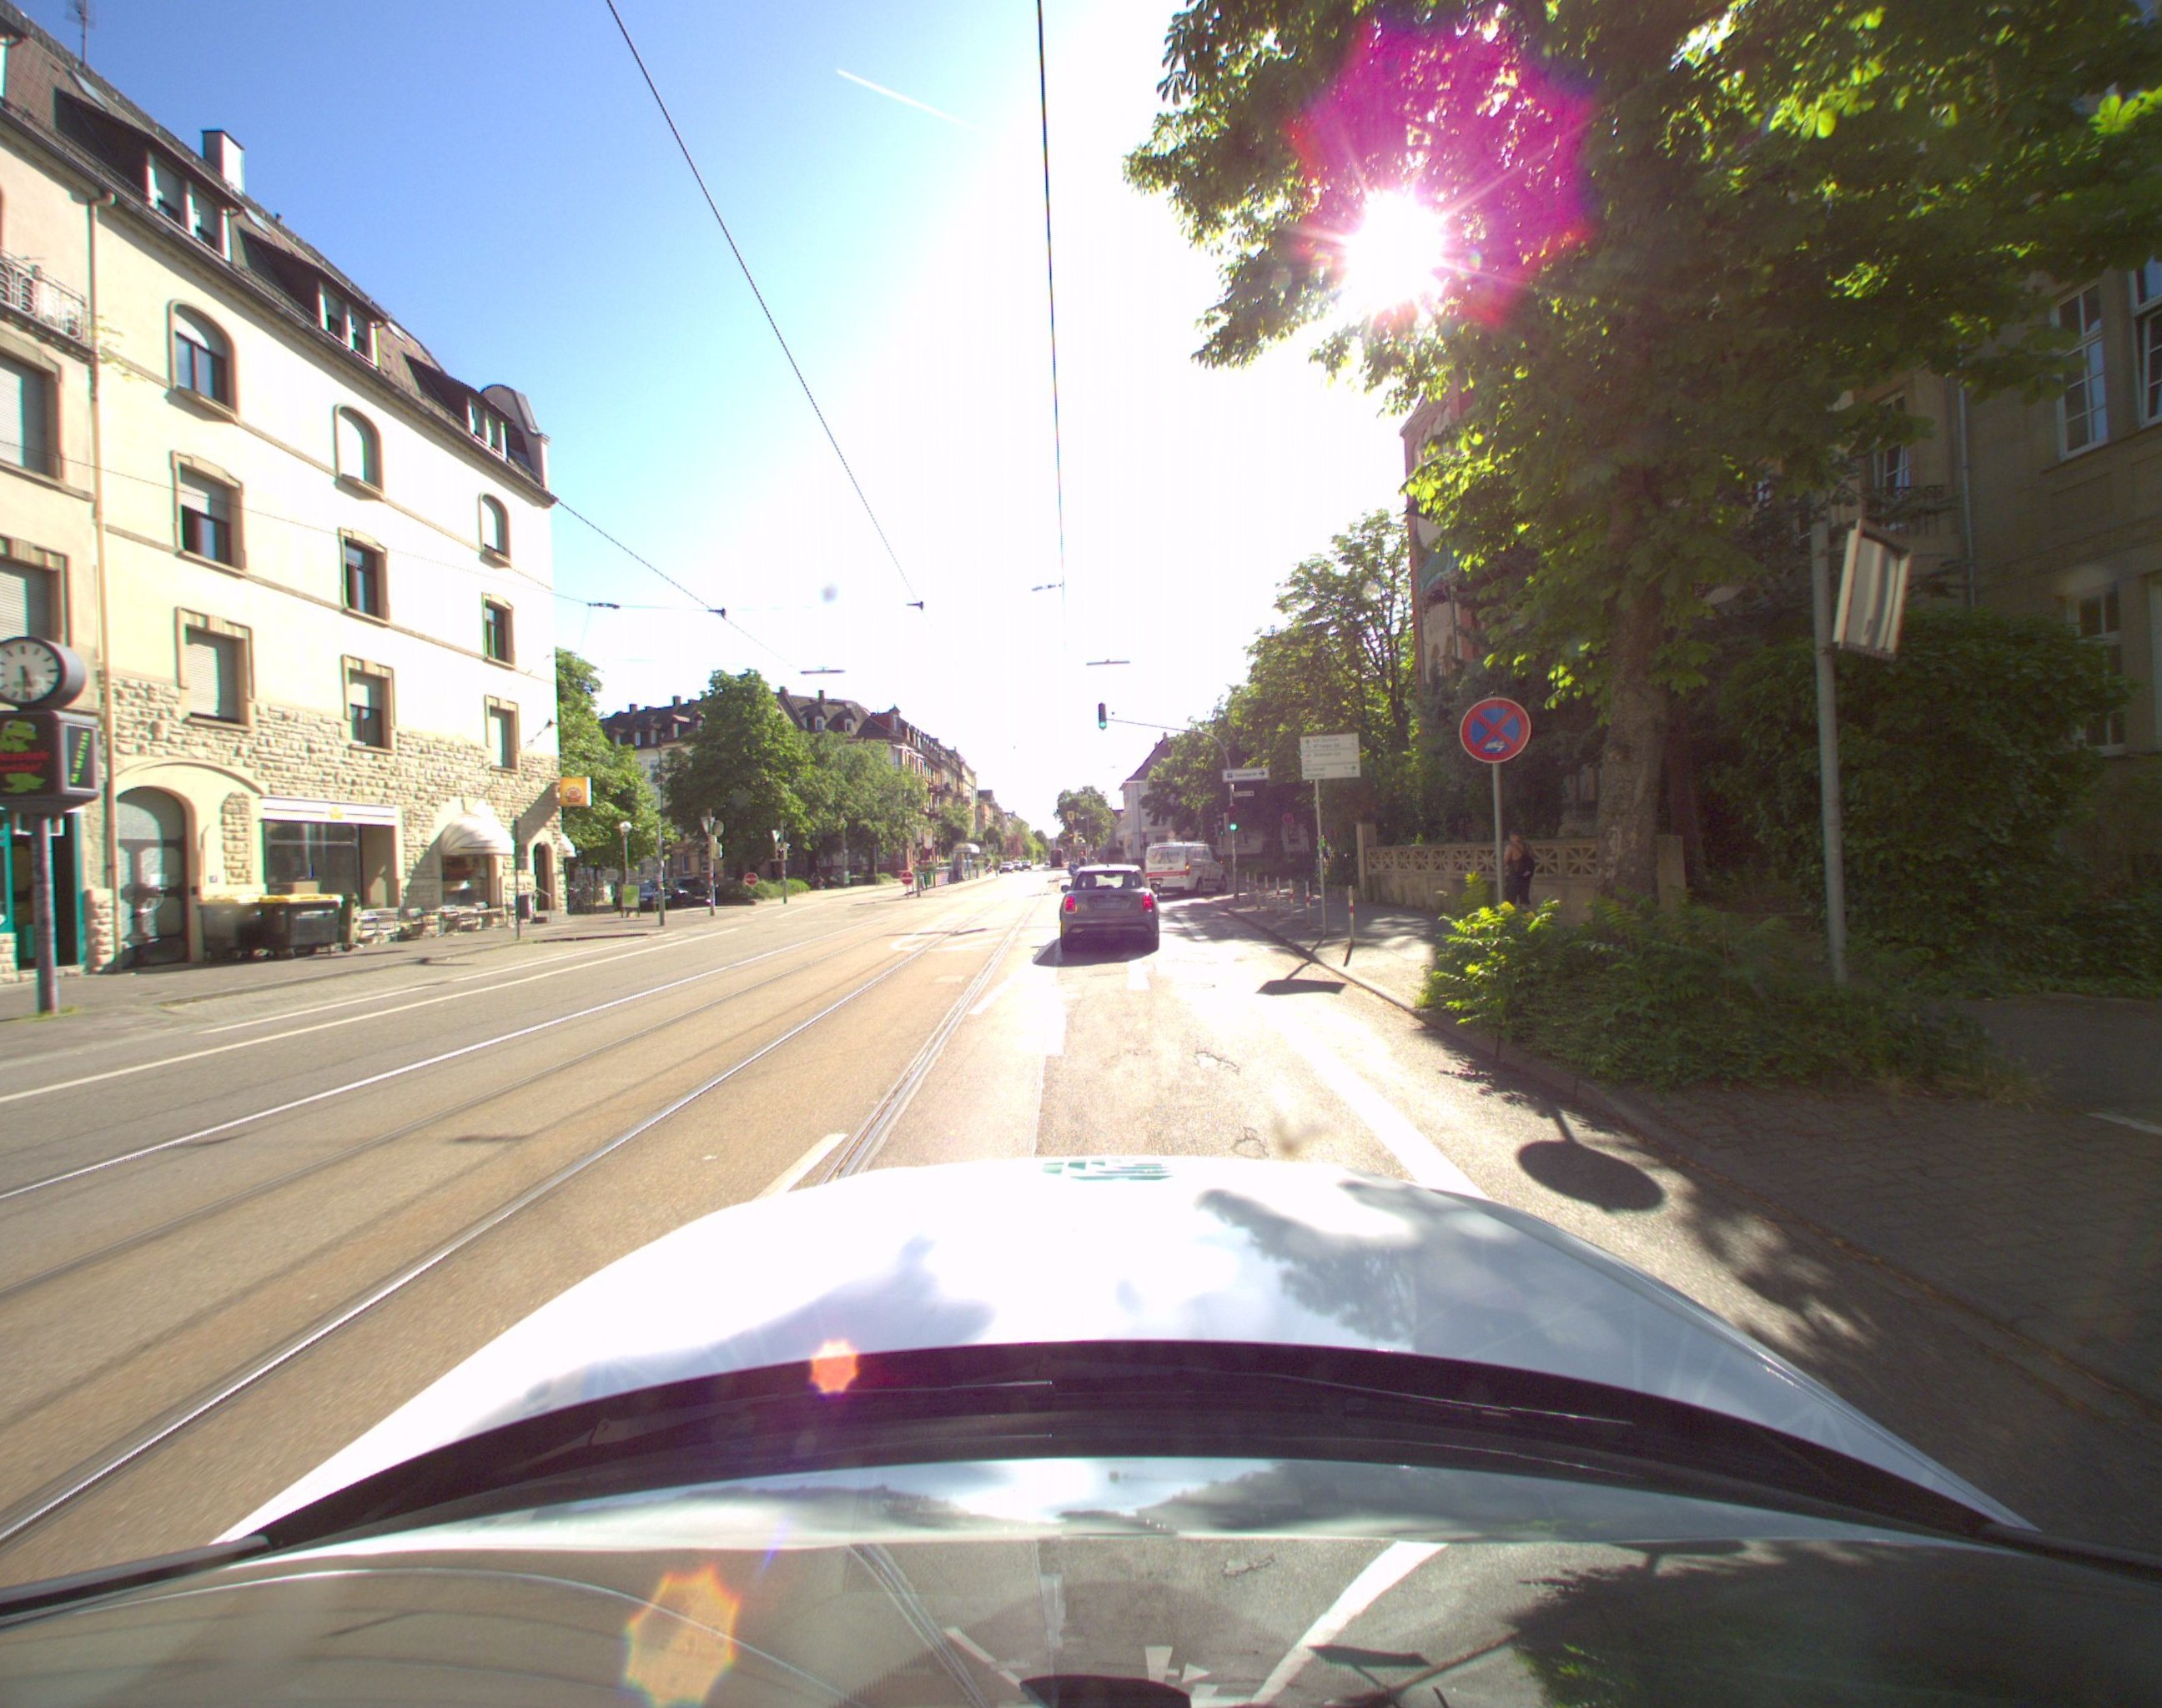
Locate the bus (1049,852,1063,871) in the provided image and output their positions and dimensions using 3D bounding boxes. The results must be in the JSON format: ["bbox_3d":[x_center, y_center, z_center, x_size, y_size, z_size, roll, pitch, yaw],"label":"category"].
[{"bbox_3d":[-4.955,1.472,160.020,2.380,3.496,7.375,-2,-1,-3],"label":"bus"}]

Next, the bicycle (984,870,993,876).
[{"bbox_3d":[-11.793,2.445,103.749,0.716,0.750,1.918,-2,-1,3],"label":"bicycle"}]

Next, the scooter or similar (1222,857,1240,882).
[{"bbox_3d":[8.065,0.812,43.903,0.674,1.310,1.328,-2,-1,0],"label":"scooter or similar"}]

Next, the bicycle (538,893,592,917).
[{"bbox_3d":[-24.308,2.387,38.377,0.602,0.980,2.051,-2,-1,38],"label":"bicycle"}]

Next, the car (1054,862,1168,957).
[{"bbox_3d":[0.522,0.924,15.117,1.809,1.488,4.000,-2,-1,1],"label":"car"}]

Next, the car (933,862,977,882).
[{"bbox_3d":[-13.441,1.921,87.046,1.974,2.014,5.060,-2,-1,29],"label":"car"}]

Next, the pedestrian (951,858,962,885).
[{"bbox_3d":[-8.773,1.229,57.327,0.579,1.795,0.604,-3,0,-16],"label":"pedestrian"}]

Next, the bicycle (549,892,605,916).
[{"bbox_3d":[-22.676,2.241,36.651,0.602,0.980,2.051,-2,-1,38],"label":"bicycle"}]

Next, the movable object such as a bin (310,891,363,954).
[{"bbox_3d":[-17.374,1.566,19.004,0.862,1.381,1.014,0,-2,-45],"label":"movable object such as a bin"}]

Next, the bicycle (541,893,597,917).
[{"bbox_3d":[-23.306,2.309,37.120,0.602,0.980,2.051,-2,-1,38],"label":"bicycle"}]

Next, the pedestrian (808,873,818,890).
[{"bbox_3d":[-18.763,1.928,57.083,0.579,1.201,0.604,-3,0,-19],"label":"pedestrian"}]

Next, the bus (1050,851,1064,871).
[{"bbox_3d":[-4.590,1.340,152.629,2.380,3.496,7.375,-2,-1,-3],"label":"bus"}]

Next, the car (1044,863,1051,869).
[{"bbox_3d":[-9.750,3.526,235.917,1.988,1.596,3.997,-2,-1,-2],"label":"car"}]

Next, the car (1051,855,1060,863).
[{"bbox_3d":[-5.849,1.119,185.588,1.859,1.563,3.996,-2,-1,-2],"label":"car"}]

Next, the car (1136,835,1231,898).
[{"bbox_3d":[4.094,0.471,31.744,2.098,2.208,4.973,-2,-1,27],"label":"car"}]

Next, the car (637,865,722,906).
[{"bbox_3d":[-20.720,1.615,41.997,3.949,2.014,2.012,-2,-1,29],"label":"car"}]

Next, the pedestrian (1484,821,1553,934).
[{"bbox_3d":[6.758,0.355,12.600,0.590,1.671,0.647,-4,-1,1],"label":"pedestrian"}]

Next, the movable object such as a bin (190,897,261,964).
[{"bbox_3d":[-17.807,1.591,16.967,0.849,1.325,0.659,-2,-1,12],"label":"movable object such as a bin"}]

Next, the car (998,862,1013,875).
[{"bbox_3d":[-9.961,1.899,107.642,1.771,1.618,3.996,-2,-1,-2],"label":"car"}]

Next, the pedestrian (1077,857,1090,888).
[{"bbox_3d":[0.186,1.190,53.710,0.793,2.014,0.740,-2,-1,-1],"label":"pedestrian"}]

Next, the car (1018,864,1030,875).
[{"bbox_3d":[-9.144,2.488,130.859,1.771,1.618,3.996,-2,-1,-2],"label":"car"}]

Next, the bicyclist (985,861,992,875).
[{"bbox_3d":[-11.800,1.778,103.693,0.711,1.665,0.735,-2,-1,3],"label":"bicyclist"}]

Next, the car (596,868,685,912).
[{"bbox_3d":[-21.536,1.776,39.811,3.949,2.014,2.012,-2,-1,29],"label":"car"}]

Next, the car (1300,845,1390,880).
[{"bbox_3d":[13.370,0.429,41.212,4.004,1.618,1.985,-1,-1,-23],"label":"car"}]

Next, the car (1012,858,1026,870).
[{"bbox_3d":[-9.010,1.450,118.488,1.771,1.618,3.996,-2,-1,-2],"label":"car"}]

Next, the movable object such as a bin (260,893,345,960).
[{"bbox_3d":[-16.998,1.573,17.812,0.849,1.381,1.031,-2,-1,12],"label":"movable object such as a bin"}]
